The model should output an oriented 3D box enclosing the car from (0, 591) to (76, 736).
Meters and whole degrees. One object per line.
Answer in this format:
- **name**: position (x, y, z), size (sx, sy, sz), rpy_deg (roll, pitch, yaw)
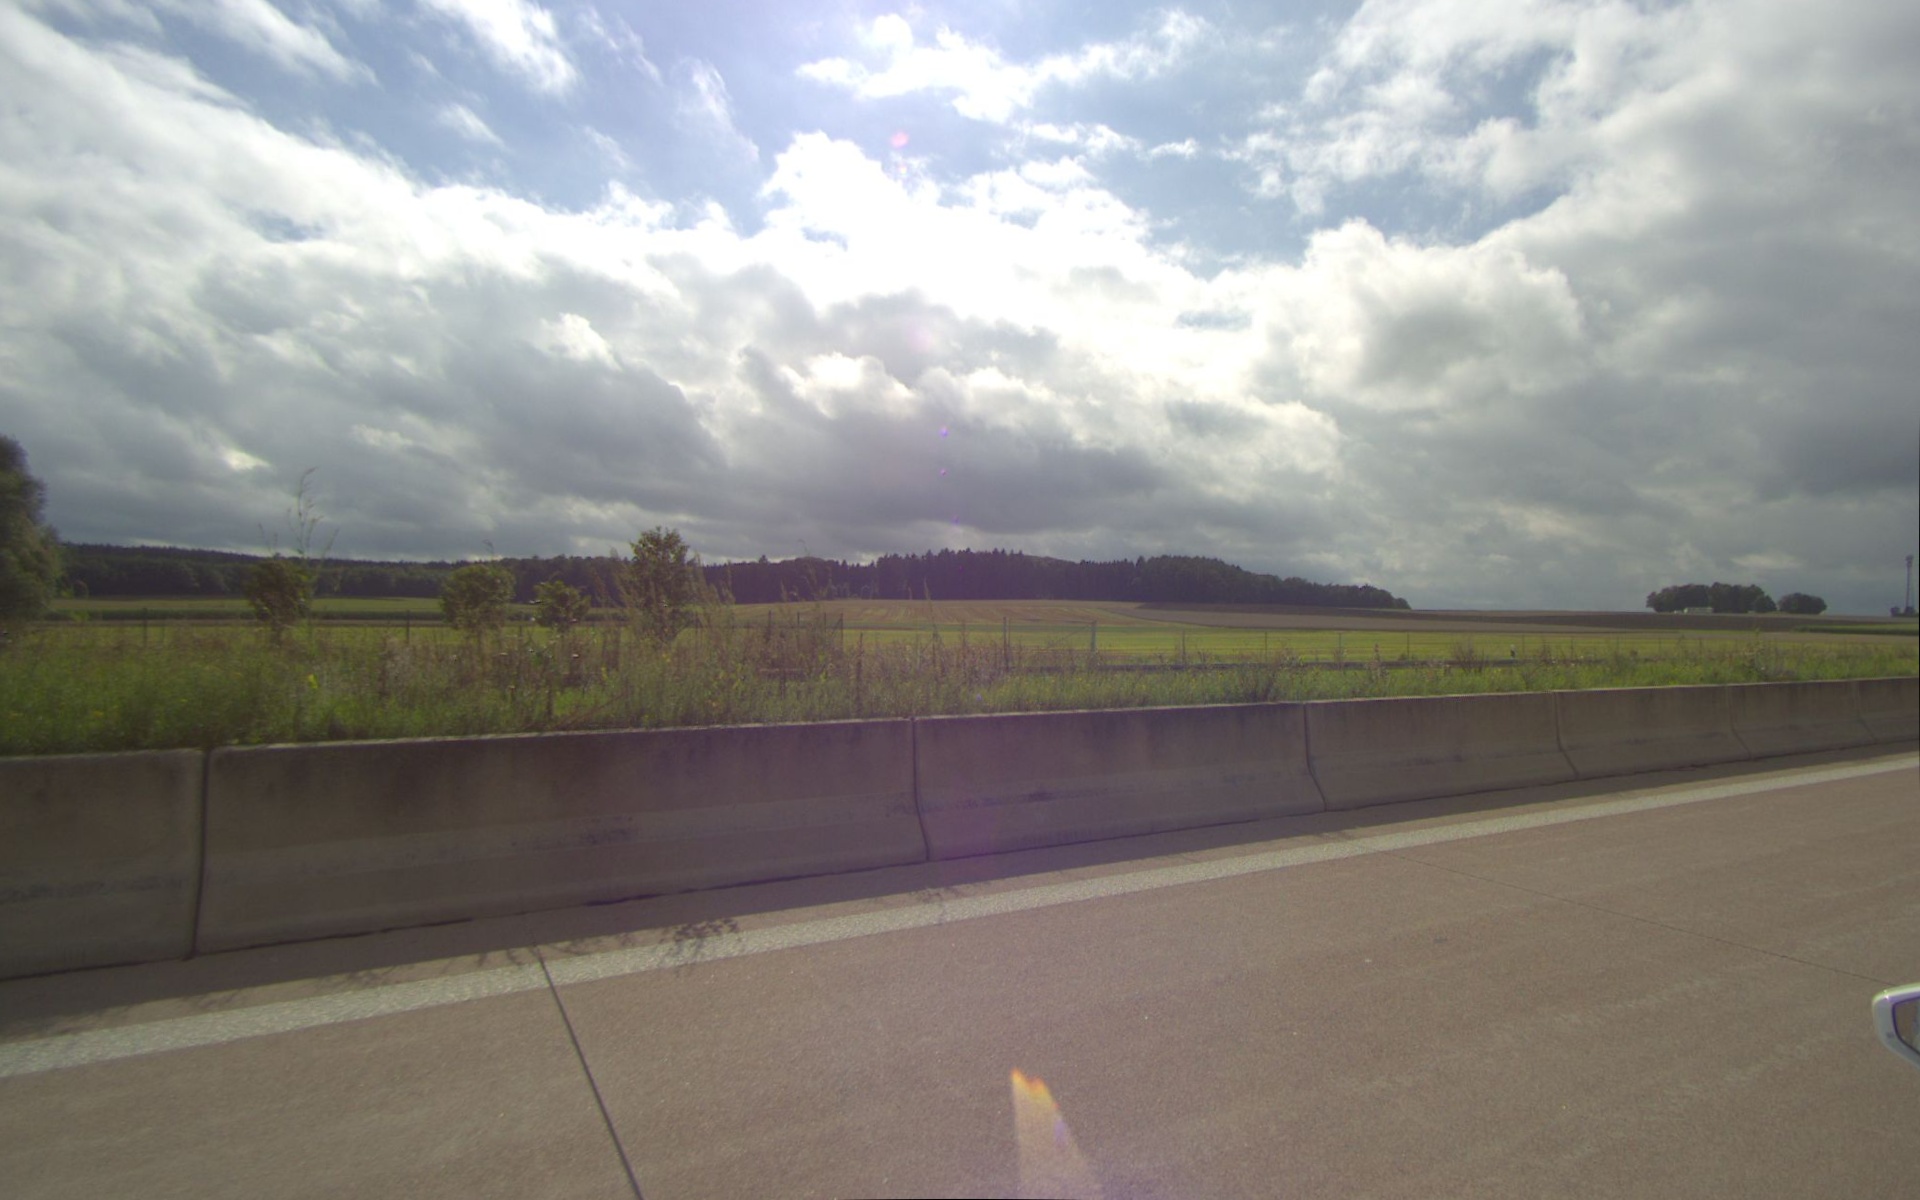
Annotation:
- **car**: position (-15.095, 0.795, 12.601), size (5.661, 1.870, 2.049), rpy_deg (1, -2, -31)
